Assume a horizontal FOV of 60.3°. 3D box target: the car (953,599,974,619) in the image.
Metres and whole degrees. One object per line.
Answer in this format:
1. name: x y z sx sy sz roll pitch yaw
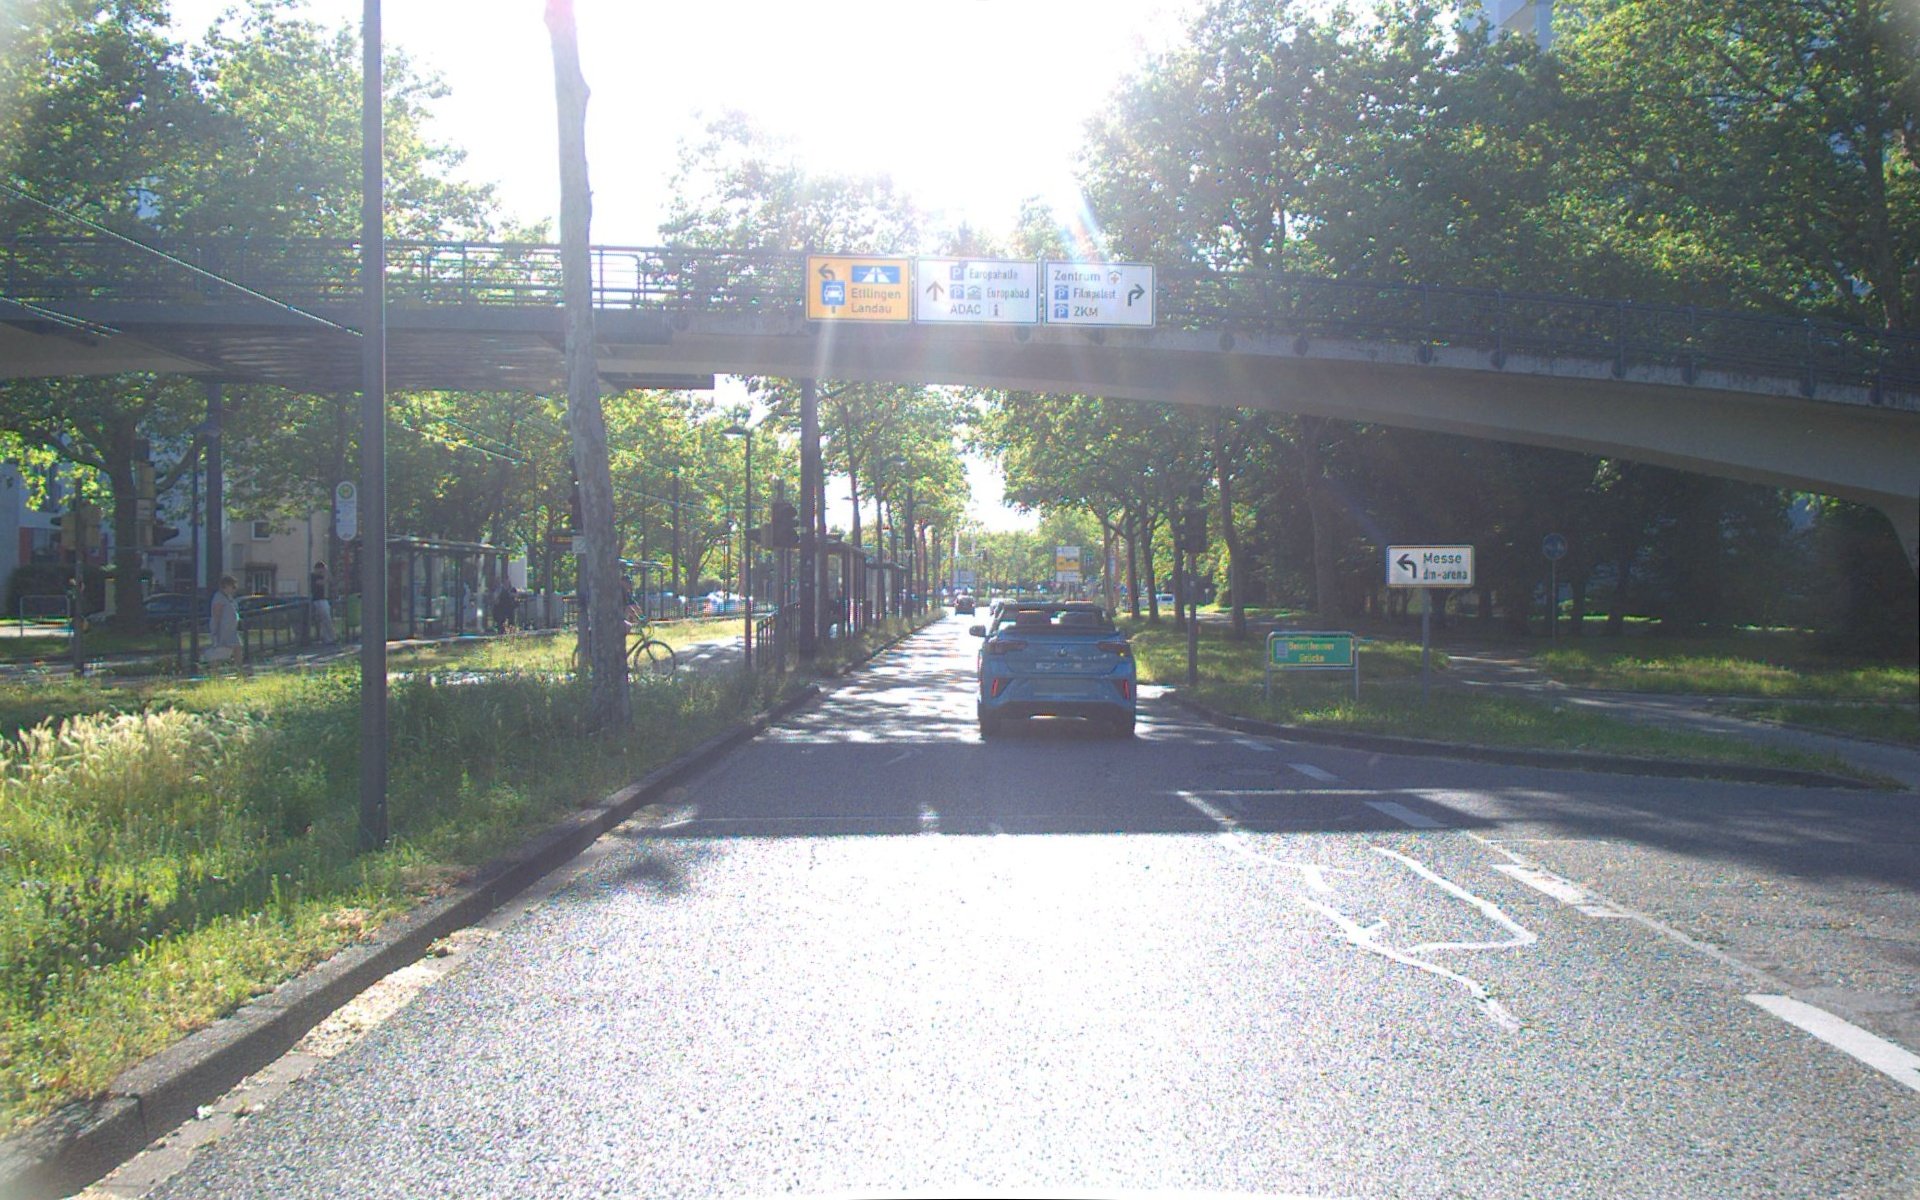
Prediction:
1. car: 0.295 0.782 137.318 1.675 1.631 3.349 1 0 -1

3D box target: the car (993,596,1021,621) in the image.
1. car: 3.025 0.522 106.373 1.605 1.520 3.503 1 1 -1

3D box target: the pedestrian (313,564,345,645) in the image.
1. pedestrian: -14.126 0.102 37.015 0.499 1.801 0.477 2 -1 -41

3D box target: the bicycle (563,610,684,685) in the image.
1. bicycle: -5.621 0.784 27.686 1.793 1.167 0.815 2 1 2

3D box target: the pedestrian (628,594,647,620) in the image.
1. pedestrian: -14.254 0.313 73.084 0.680 1.147 0.662 -3 -1 1

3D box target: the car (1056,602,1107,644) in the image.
1. car: 5.482 1.018 75.002 1.941 1.823 4.614 0 0 0

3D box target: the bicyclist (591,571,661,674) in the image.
1. bicyclist: -5.582 0.369 27.681 0.934 1.660 0.815 2 0 2

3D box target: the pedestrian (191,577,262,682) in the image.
1. pedestrian: -12.310 0.492 27.785 0.710 1.703 1.048 1 -1 -4

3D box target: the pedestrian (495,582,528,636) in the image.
1. pedestrian: -12.910 0.258 47.606 0.670 1.540 0.642 -2 0 35

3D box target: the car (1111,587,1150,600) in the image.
1. car: 18.653 -0.740 181.364 3.909 1.361 1.727 1 -1 26

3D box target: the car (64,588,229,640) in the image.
1. car: -24.417 0.426 49.709 4.158 1.453 1.677 1 1 -39

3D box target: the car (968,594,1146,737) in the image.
1. car: 1.057 0.696 19.827 1.740 1.509 4.098 1 0 -2

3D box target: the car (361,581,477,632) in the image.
1. car: -23.645 0.281 72.363 4.455 2.099 1.874 1 1 -39

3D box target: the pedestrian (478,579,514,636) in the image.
1. pedestrian: -13.679 0.226 48.738 0.701 1.663 0.729 -1 -1 35

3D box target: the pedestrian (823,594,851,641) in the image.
1. pedestrian: -3.374 0.474 45.243 0.719 1.274 0.587 1 -1 -6
